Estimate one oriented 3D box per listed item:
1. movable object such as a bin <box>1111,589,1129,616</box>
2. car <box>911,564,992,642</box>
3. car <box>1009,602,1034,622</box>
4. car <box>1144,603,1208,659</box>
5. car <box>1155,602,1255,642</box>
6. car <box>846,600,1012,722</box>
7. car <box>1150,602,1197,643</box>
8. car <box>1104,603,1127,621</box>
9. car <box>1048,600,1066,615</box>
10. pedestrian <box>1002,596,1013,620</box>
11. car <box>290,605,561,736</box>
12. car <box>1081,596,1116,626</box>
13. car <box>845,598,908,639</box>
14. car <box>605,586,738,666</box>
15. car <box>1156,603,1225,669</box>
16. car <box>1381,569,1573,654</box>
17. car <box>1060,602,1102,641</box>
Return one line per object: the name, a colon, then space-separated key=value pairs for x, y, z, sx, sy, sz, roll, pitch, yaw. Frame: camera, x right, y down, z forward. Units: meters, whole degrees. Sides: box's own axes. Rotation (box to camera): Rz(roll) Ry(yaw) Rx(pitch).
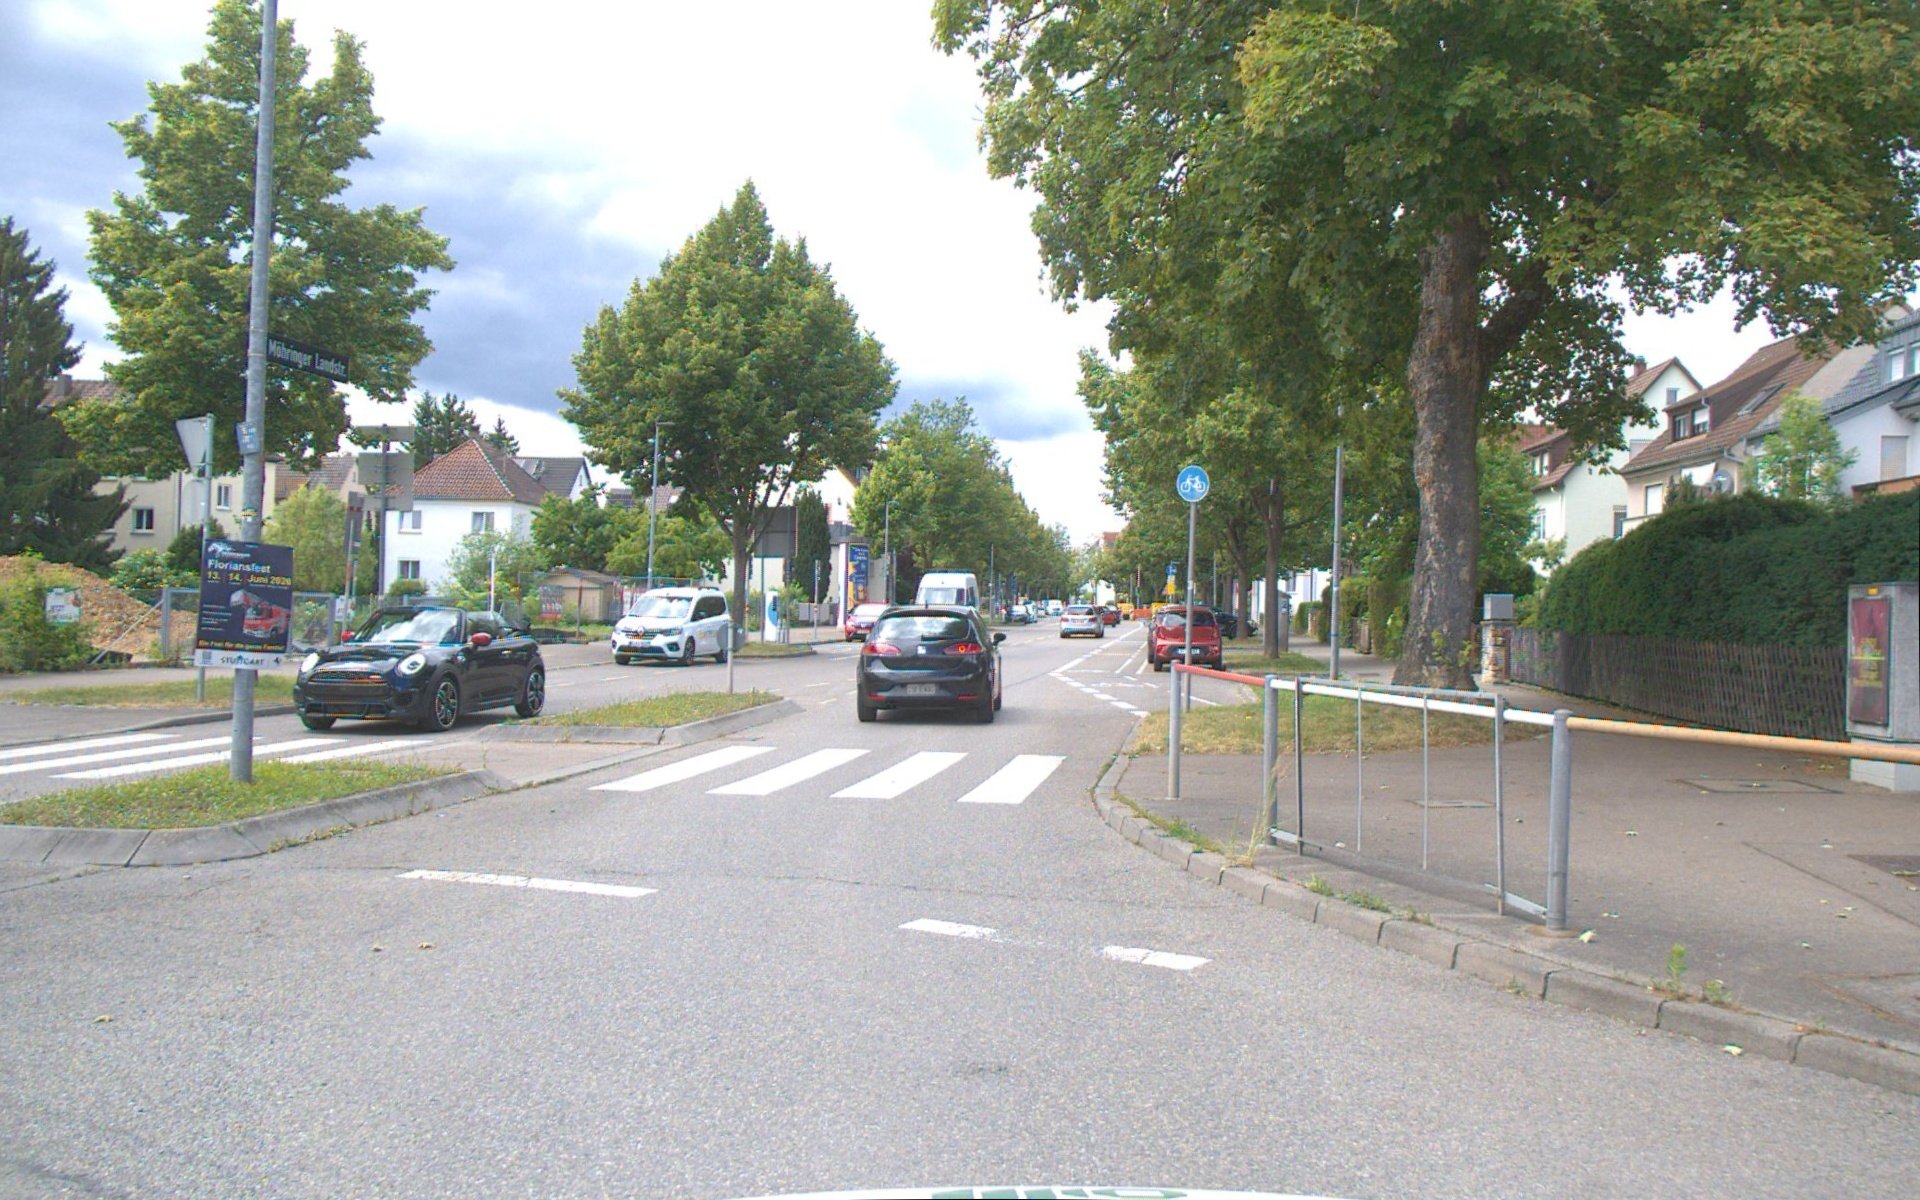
movable object such as a bin: x=15.928 y=0.224 z=164.910 sx=1.731 sy=2.619 sz=3.742 roll=1 pitch=0 yaw=5
car: x=-0.253 y=0.101 z=60.637 sx=1.976 sy=2.721 sz=5.810 roll=1 pitch=0 yaw=9
car: x=4.674 y=0.910 z=125.831 sx=1.608 sy=1.445 sz=4.023 roll=0 pitch=0 yaw=6
car: x=5.855 y=0.823 z=45.206 sx=1.618 sy=1.441 sz=4.180 roll=0 pitch=0 yaw=6
car: x=10.537 y=0.944 z=71.346 sx=4.129 sy=1.666 sz=1.694 roll=0 pitch=0 yaw=2
car: x=-0.314 y=0.727 z=21.644 sx=1.780 sy=1.463 sz=3.742 roll=0 pitch=0 yaw=5
car: x=7.890 y=0.818 z=61.272 sx=1.618 sy=1.441 sz=4.180 roll=0 pitch=0 yaw=6
car: x=12.230 y=0.934 z=130.378 sx=1.772 sy=1.399 sz=3.695 roll=1 pitch=0 yaw=5
car: x=12.070 y=0.899 z=206.110 sx=1.924 sy=1.862 sz=4.822 roll=1 pitch=0 yaw=7
pedestrian: x=3.417 y=0.571 z=118.777 sx=0.531 sy=1.710 sz=0.751 roll=2 pitch=1 yaw=16
car: x=-6.272 y=0.771 z=19.842 sx=1.539 sy=1.386 sz=3.746 roll=1 pitch=0 yaw=9
car: x=9.416 y=0.737 z=112.193 sx=1.866 sy=1.914 sz=4.003 roll=1 pitch=0 yaw=11
car: x=-3.292 y=0.701 z=66.150 sx=1.649 sy=1.568 sz=4.135 roll=1 pitch=0 yaw=9
car: x=-6.885 y=0.592 z=39.932 sx=1.732 sy=1.801 sz=4.555 roll=1 pitch=0 yaw=9
car: x=5.440 y=0.843 z=39.245 sx=1.532 sy=1.481 sz=3.671 roll=1 pitch=-1 yaw=7
car: x=16.642 y=0.340 z=53.430 sx=5.594 sy=2.637 sz=1.999 roll=1 pitch=1 yaw=3
car: x=5.550 y=0.967 z=75.675 sx=1.865 sy=1.715 sz=3.742 roll=0 pitch=0 yaw=5
